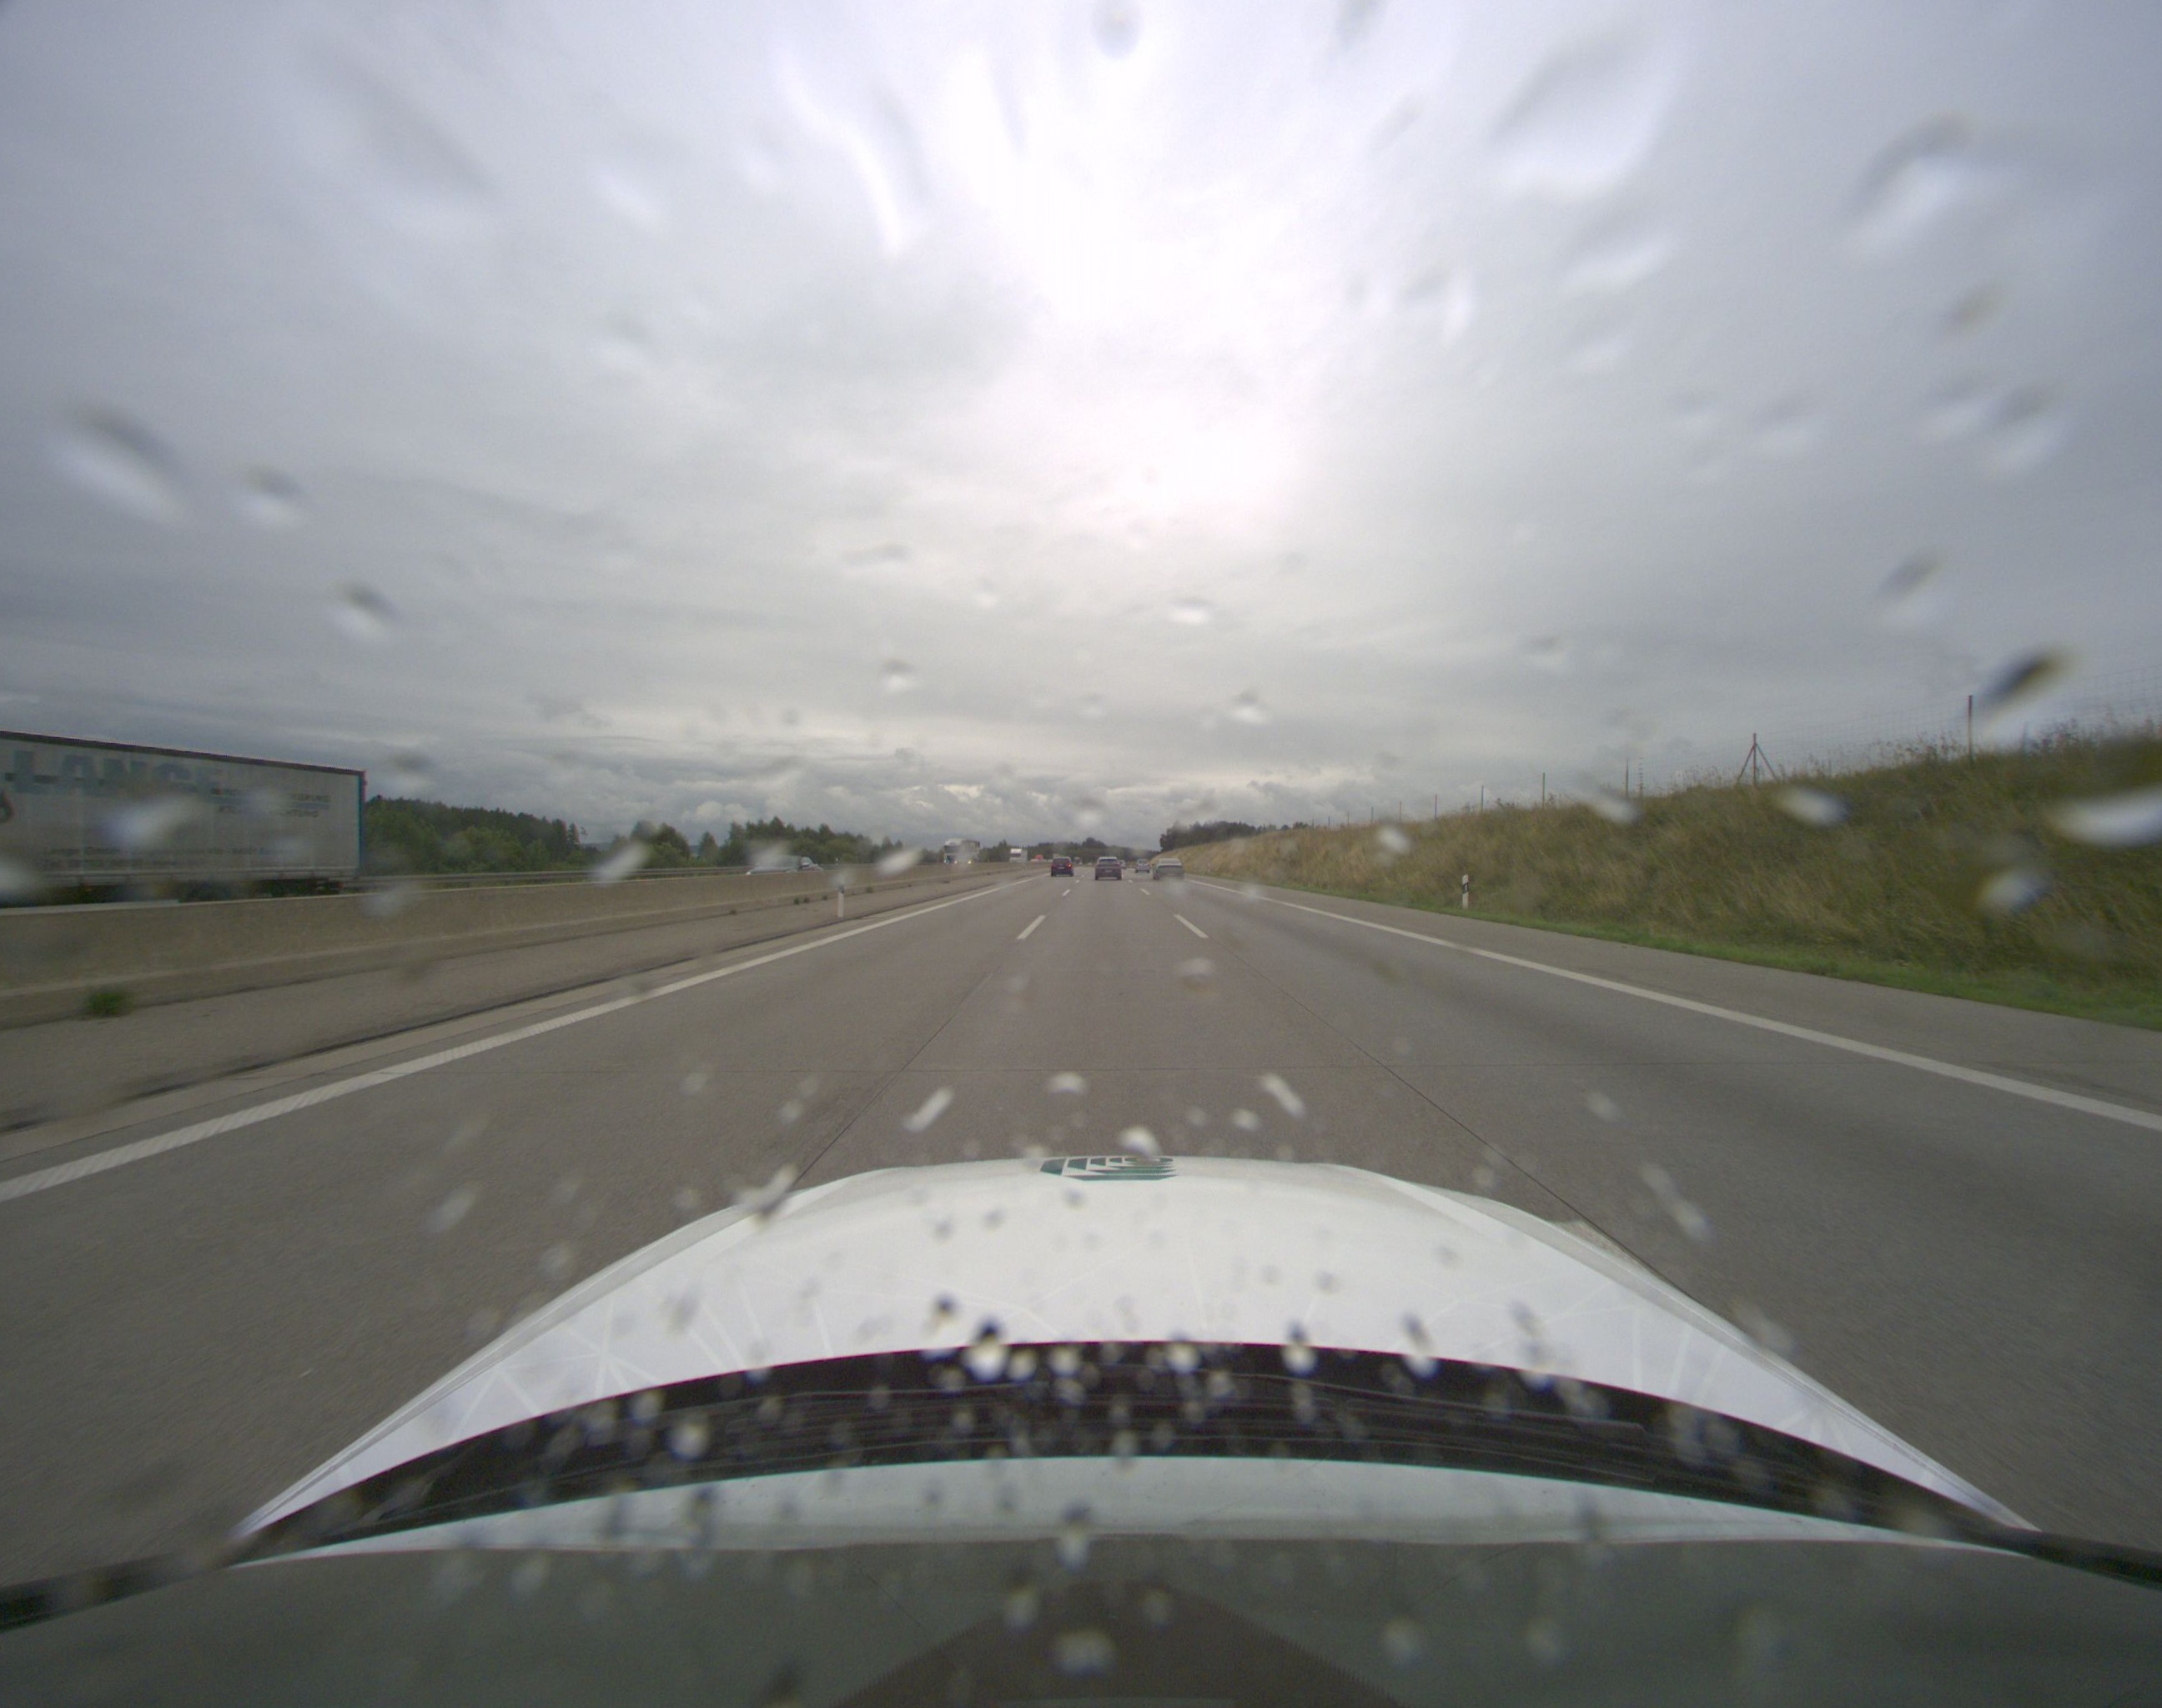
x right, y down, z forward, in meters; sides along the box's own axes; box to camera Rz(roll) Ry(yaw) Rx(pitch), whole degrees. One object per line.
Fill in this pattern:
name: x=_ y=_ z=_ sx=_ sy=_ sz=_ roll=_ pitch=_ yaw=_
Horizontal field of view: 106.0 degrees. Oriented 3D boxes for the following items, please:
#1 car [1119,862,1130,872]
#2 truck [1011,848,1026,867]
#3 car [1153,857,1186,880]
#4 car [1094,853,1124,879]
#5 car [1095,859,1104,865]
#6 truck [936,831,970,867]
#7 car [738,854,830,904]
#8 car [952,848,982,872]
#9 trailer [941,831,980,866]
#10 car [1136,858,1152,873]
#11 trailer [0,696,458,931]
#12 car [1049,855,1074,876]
car: x=6.992 y=2.008 z=131.038 sx=1.480 sy=1.470 sz=3.505 roll=2 pitch=0 yaw=1
truck: x=-14.623 y=0.859 z=189.828 sx=2.873 sy=4.291 sz=7.137 roll=0 pitch=0 yaw=1
car: x=5.947 y=0.938 z=55.017 sx=2.006 sy=1.446 sz=4.749 roll=0 pitch=0 yaw=3
car: x=1.920 y=0.801 z=57.475 sx=1.892 sy=1.690 sz=5.265 roll=0 pitch=0 yaw=0
car: x=4.238 y=1.730 z=182.659 sx=1.789 sy=1.221 sz=4.006 roll=0 pitch=0 yaw=5
truck: x=-17.523 y=-0.728 z=111.953 sx=3.575 sy=4.819 sz=5.869 roll=0 pitch=0 yaw=1
car: x=-10.827 y=0.871 z=29.976 sx=1.986 sy=1.684 sz=3.536 roll=0 pitch=0 yaw=1
car: x=-10.336 y=0.495 z=74.161 sx=1.986 sy=2.147 sz=4.865 roll=0 pitch=0 yaw=1
trailer: x=-17.422 y=-0.736 z=118.658 sx=3.586 sy=4.799 sz=12.910 roll=0 pitch=0 yaw=1
car: x=6.740 y=1.251 z=87.886 sx=1.480 sy=1.470 sz=3.505 roll=2 pitch=0 yaw=1
trailer: x=-18.973 y=-0.669 z=16.475 sx=2.838 sy=3.837 sz=12.405 roll=0 pitch=0 yaw=2
car: x=-1.641 y=0.986 z=70.414 sx=1.777 sy=1.747 sz=3.919 roll=0 pitch=0 yaw=3
